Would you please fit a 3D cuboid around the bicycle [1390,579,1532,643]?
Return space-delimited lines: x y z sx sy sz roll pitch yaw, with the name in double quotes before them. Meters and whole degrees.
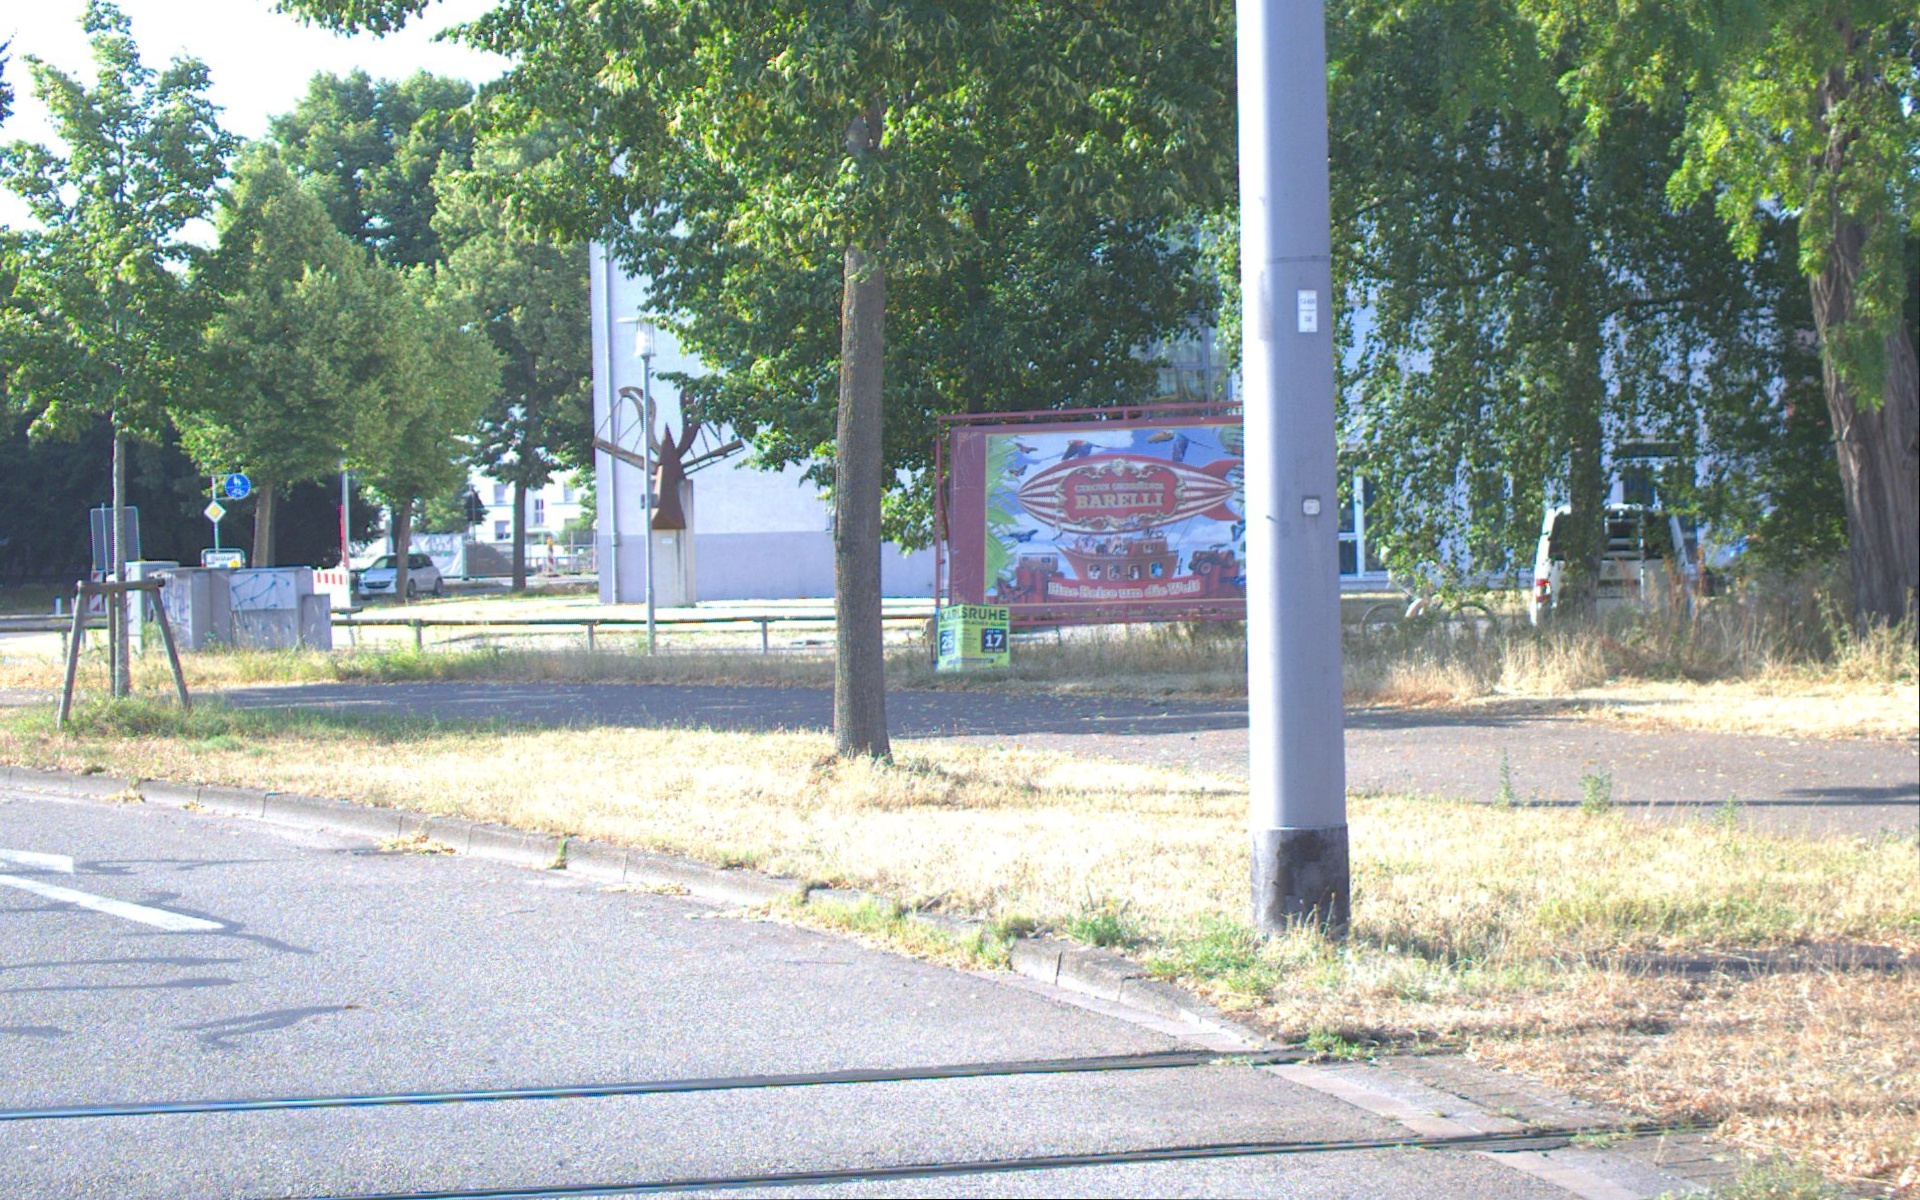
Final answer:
"bicycle" 6.992 0.153 47.970 1.987 0.822 0.430 -2 2 -20

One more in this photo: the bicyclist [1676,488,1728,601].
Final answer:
"bicyclist" 10.076 -0.757 46.702 0.622 1.506 0.419 -1 1 4

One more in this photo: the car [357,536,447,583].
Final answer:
"car" -17.976 -1.312 110.814 1.584 1.437 3.551 -1 1 13

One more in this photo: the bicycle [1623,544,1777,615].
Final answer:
"bicycle" 10.056 -0.284 46.725 1.987 0.915 0.430 -1 1 5

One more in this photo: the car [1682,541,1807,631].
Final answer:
"car" 11.036 -0.220 48.232 1.602 1.177 3.966 -1 1 14

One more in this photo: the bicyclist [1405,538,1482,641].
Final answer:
"bicyclist" 6.736 -0.153 47.878 0.897 1.391 0.526 -2 1 -19

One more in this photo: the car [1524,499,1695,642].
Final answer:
"car" 7.895 -0.375 41.561 1.772 1.612 3.966 -1 1 14
